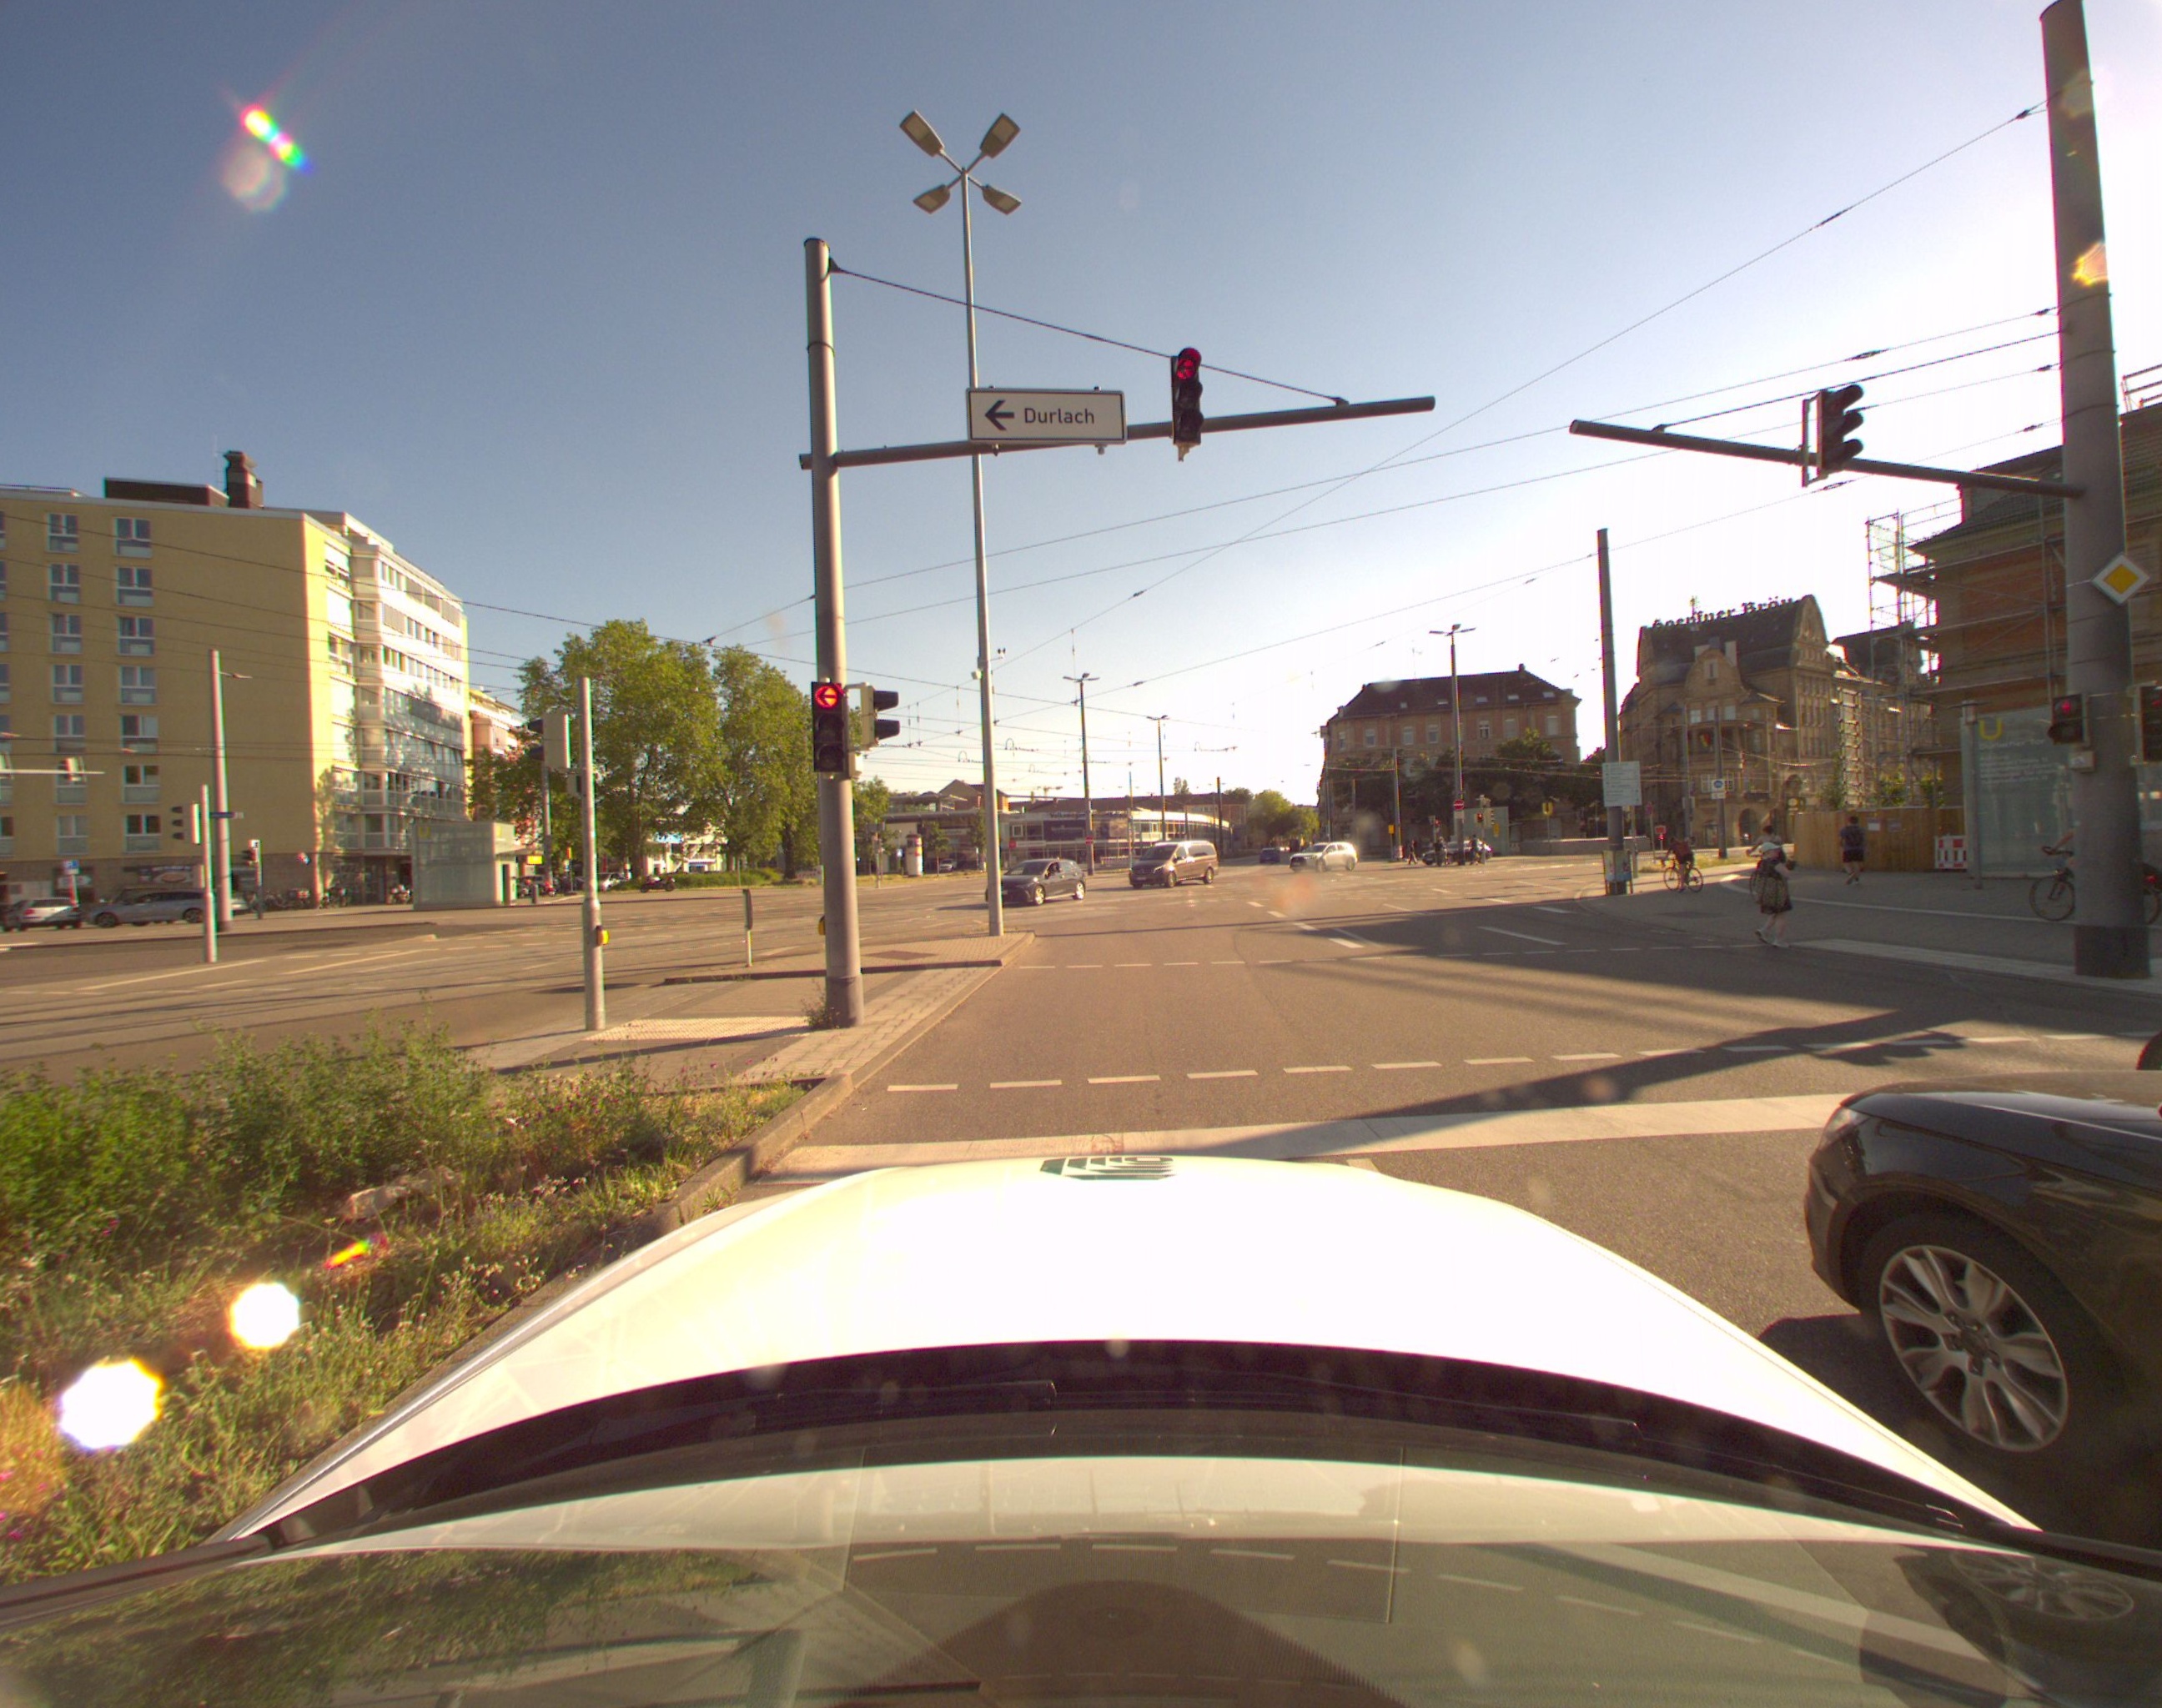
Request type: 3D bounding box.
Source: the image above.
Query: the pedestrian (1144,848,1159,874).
[{"bbox_3d":[5.105,0.478,58.967,0.986,1.816,0.920,-1,1,0],"label":"pedestrian"}]

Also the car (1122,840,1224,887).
[{"bbox_3d":[4.161,0.377,36.118,1.929,1.893,4.880,-3,0,43],"label":"car"}]

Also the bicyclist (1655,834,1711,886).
[{"bbox_3d":[16.541,0.167,22.398,0.717,1.384,1.076,-1,-2,2],"label":"bicyclist"}]

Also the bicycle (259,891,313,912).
[{"bbox_3d":[-45.290,2.697,46.409,2.047,1.090,0.772,-2,0,-18],"label":"bicycle"}]

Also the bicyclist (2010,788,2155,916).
[{"bbox_3d":[15.156,-0.028,12.362,0.776,1.830,1.091,-2,0,-4],"label":"bicyclist"}]

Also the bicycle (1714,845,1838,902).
[{"bbox_3d":[15.578,0.411,18.361,0.775,1.156,2.291,-5,0,0],"label":"bicycle"}]

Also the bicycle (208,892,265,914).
[{"bbox_3d":[-47.410,2.763,45.734,2.047,1.090,0.772,-2,0,-18],"label":"bicycle"}]

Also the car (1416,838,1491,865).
[{"bbox_3d":[23.849,-0.173,52.187,4.361,1.563,1.937,-2,2,-23],"label":"car"}]

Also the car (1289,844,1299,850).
[{"bbox_3d":[56.146,-1.867,214.590,1.795,1.655,3.919,-1,2,1],"label":"car"}]

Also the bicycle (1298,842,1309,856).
[{"bbox_3d":[28.808,-0.628,105.619,1.126,1.690,4.020,-1,2,18],"label":"bicycle"}]

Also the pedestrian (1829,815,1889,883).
[{"bbox_3d":[19.863,-0.128,20.810,0.692,1.671,0.832,-4,-1,12],"label":"pedestrian"}]

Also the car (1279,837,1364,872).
[{"bbox_3d":[13.615,0.018,46.021,4.871,1.799,1.932,-2,0,-35],"label":"car"}]

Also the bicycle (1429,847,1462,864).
[{"bbox_3d":[21.595,0.087,48.206,2.315,0.905,0.850,-3,2,-40],"label":"bicycle"}]

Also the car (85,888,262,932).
[{"bbox_3d":[-38.185,2.314,34.426,4.559,1.517,1.940,-2,0,-20],"label":"car"}]

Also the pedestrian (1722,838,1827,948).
[{"bbox_3d":[10.677,0.571,12.555,1.092,1.606,0.697,-1,1,-9],"label":"pedestrian"}]

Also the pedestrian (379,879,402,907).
[{"bbox_3d":[-42.251,2.391,49.832,0.777,1.676,0.778,-2,0,-15],"label":"pedestrian"}]

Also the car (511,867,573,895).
[{"bbox_3d":[-43.287,2.177,65.505,4.015,2.013,1.979,-2,0,-33],"label":"car"}]

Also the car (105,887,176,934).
[{"bbox_3d":[-43.643,2.564,37.764,3.948,1.857,1.865,0,2,38],"label":"car"}]

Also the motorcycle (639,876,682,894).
[{"bbox_3d":[-26.473,1.939,51.304,2.286,1.054,0.685,-2,1,-12],"label":"motorcycle"}]

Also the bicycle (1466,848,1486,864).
[{"bbox_3d":[23.417,0.104,48.325,0.850,0.905,2.316,-1,2,21],"label":"bicycle"}]

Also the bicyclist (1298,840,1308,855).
[{"bbox_3d":[28.752,-0.796,105.584,1.110,1.900,1.079,-1,1,19],"label":"bicyclist"}]

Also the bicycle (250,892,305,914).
[{"bbox_3d":[-44.995,2.713,45.617,2.047,1.090,0.772,-2,0,-18],"label":"bicycle"}]

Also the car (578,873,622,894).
[{"bbox_3d":[-37.381,2.276,63.421,1.850,1.452,3.980,-2,0,-14],"label":"car"}]

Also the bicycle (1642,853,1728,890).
[{"bbox_3d":[16.549,0.488,22.397,0.717,0.952,2.250,-1,-2,2],"label":"bicycle"}]

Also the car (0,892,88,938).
[{"bbox_3d":[-46.542,2.671,36.535,3.949,1.748,1.851,0,2,30],"label":"car"}]

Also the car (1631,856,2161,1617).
[{"bbox_3d":[2.994,0.737,1.042,1.796,1.444,3.975,-1,0,-2],"label":"car"}]

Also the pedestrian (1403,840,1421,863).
[{"bbox_3d":[24.437,-0.160,60.122,0.921,1.676,0.783,-2,0,1],"label":"pedestrian"}]

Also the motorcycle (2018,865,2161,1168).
[{"bbox_3d":[5.463,0.740,2.971,1.091,1.377,2.655,-1,-1,3],"label":"motorcycle"}]

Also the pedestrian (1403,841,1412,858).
[{"bbox_3d":[25.743,-0.376,64.236,0.421,1.339,0.601,-2,0,2],"label":"pedestrian"}]

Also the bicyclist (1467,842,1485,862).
[{"bbox_3d":[23.359,-0.129,48.178,0.850,1.176,0.719,-1,1,21],"label":"bicyclist"}]

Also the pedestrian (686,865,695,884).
[{"bbox_3d":[-41.165,2.140,85.853,0.586,2.013,0.711,-2,0,1],"label":"pedestrian"}]

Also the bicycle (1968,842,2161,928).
[{"bbox_3d":[15.168,0.426,12.357,0.776,1.156,2.287,-2,0,-4],"label":"bicycle"}]

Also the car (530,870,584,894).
[{"bbox_3d":[-47.271,2.514,73.503,4.016,1.857,1.834,-2,2,-33],"label":"car"}]

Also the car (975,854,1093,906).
[{"bbox_3d":[-1.474,0.826,27.157,1.928,1.486,4.128,-2,0,30],"label":"car"}]

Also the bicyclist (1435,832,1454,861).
[{"bbox_3d":[21.483,-0.424,48.133,0.655,1.690,0.850,-2,2,-40],"label":"bicyclist"}]

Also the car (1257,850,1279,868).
[{"bbox_3d":[18.574,0.486,81.031,1.935,1.594,4.630,-2,0,10],"label":"car"}]

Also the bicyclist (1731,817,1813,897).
[{"bbox_3d":[15.549,0.071,18.360,0.775,1.677,1.093,-5,0,0],"label":"bicyclist"}]

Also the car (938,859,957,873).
[{"bbox_3d":[-16.581,1.485,101.341,1.990,1.534,3.995,-1,2,-4],"label":"car"}]

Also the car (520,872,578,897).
[{"bbox_3d":[-45.340,2.546,69.434,4.016,1.857,1.834,-2,2,-33],"label":"car"}]

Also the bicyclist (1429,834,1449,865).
[{"bbox_3d":[20.974,-0.239,47.719,0.587,1.778,0.857,-2,-1,-39],"label":"bicyclist"}]
